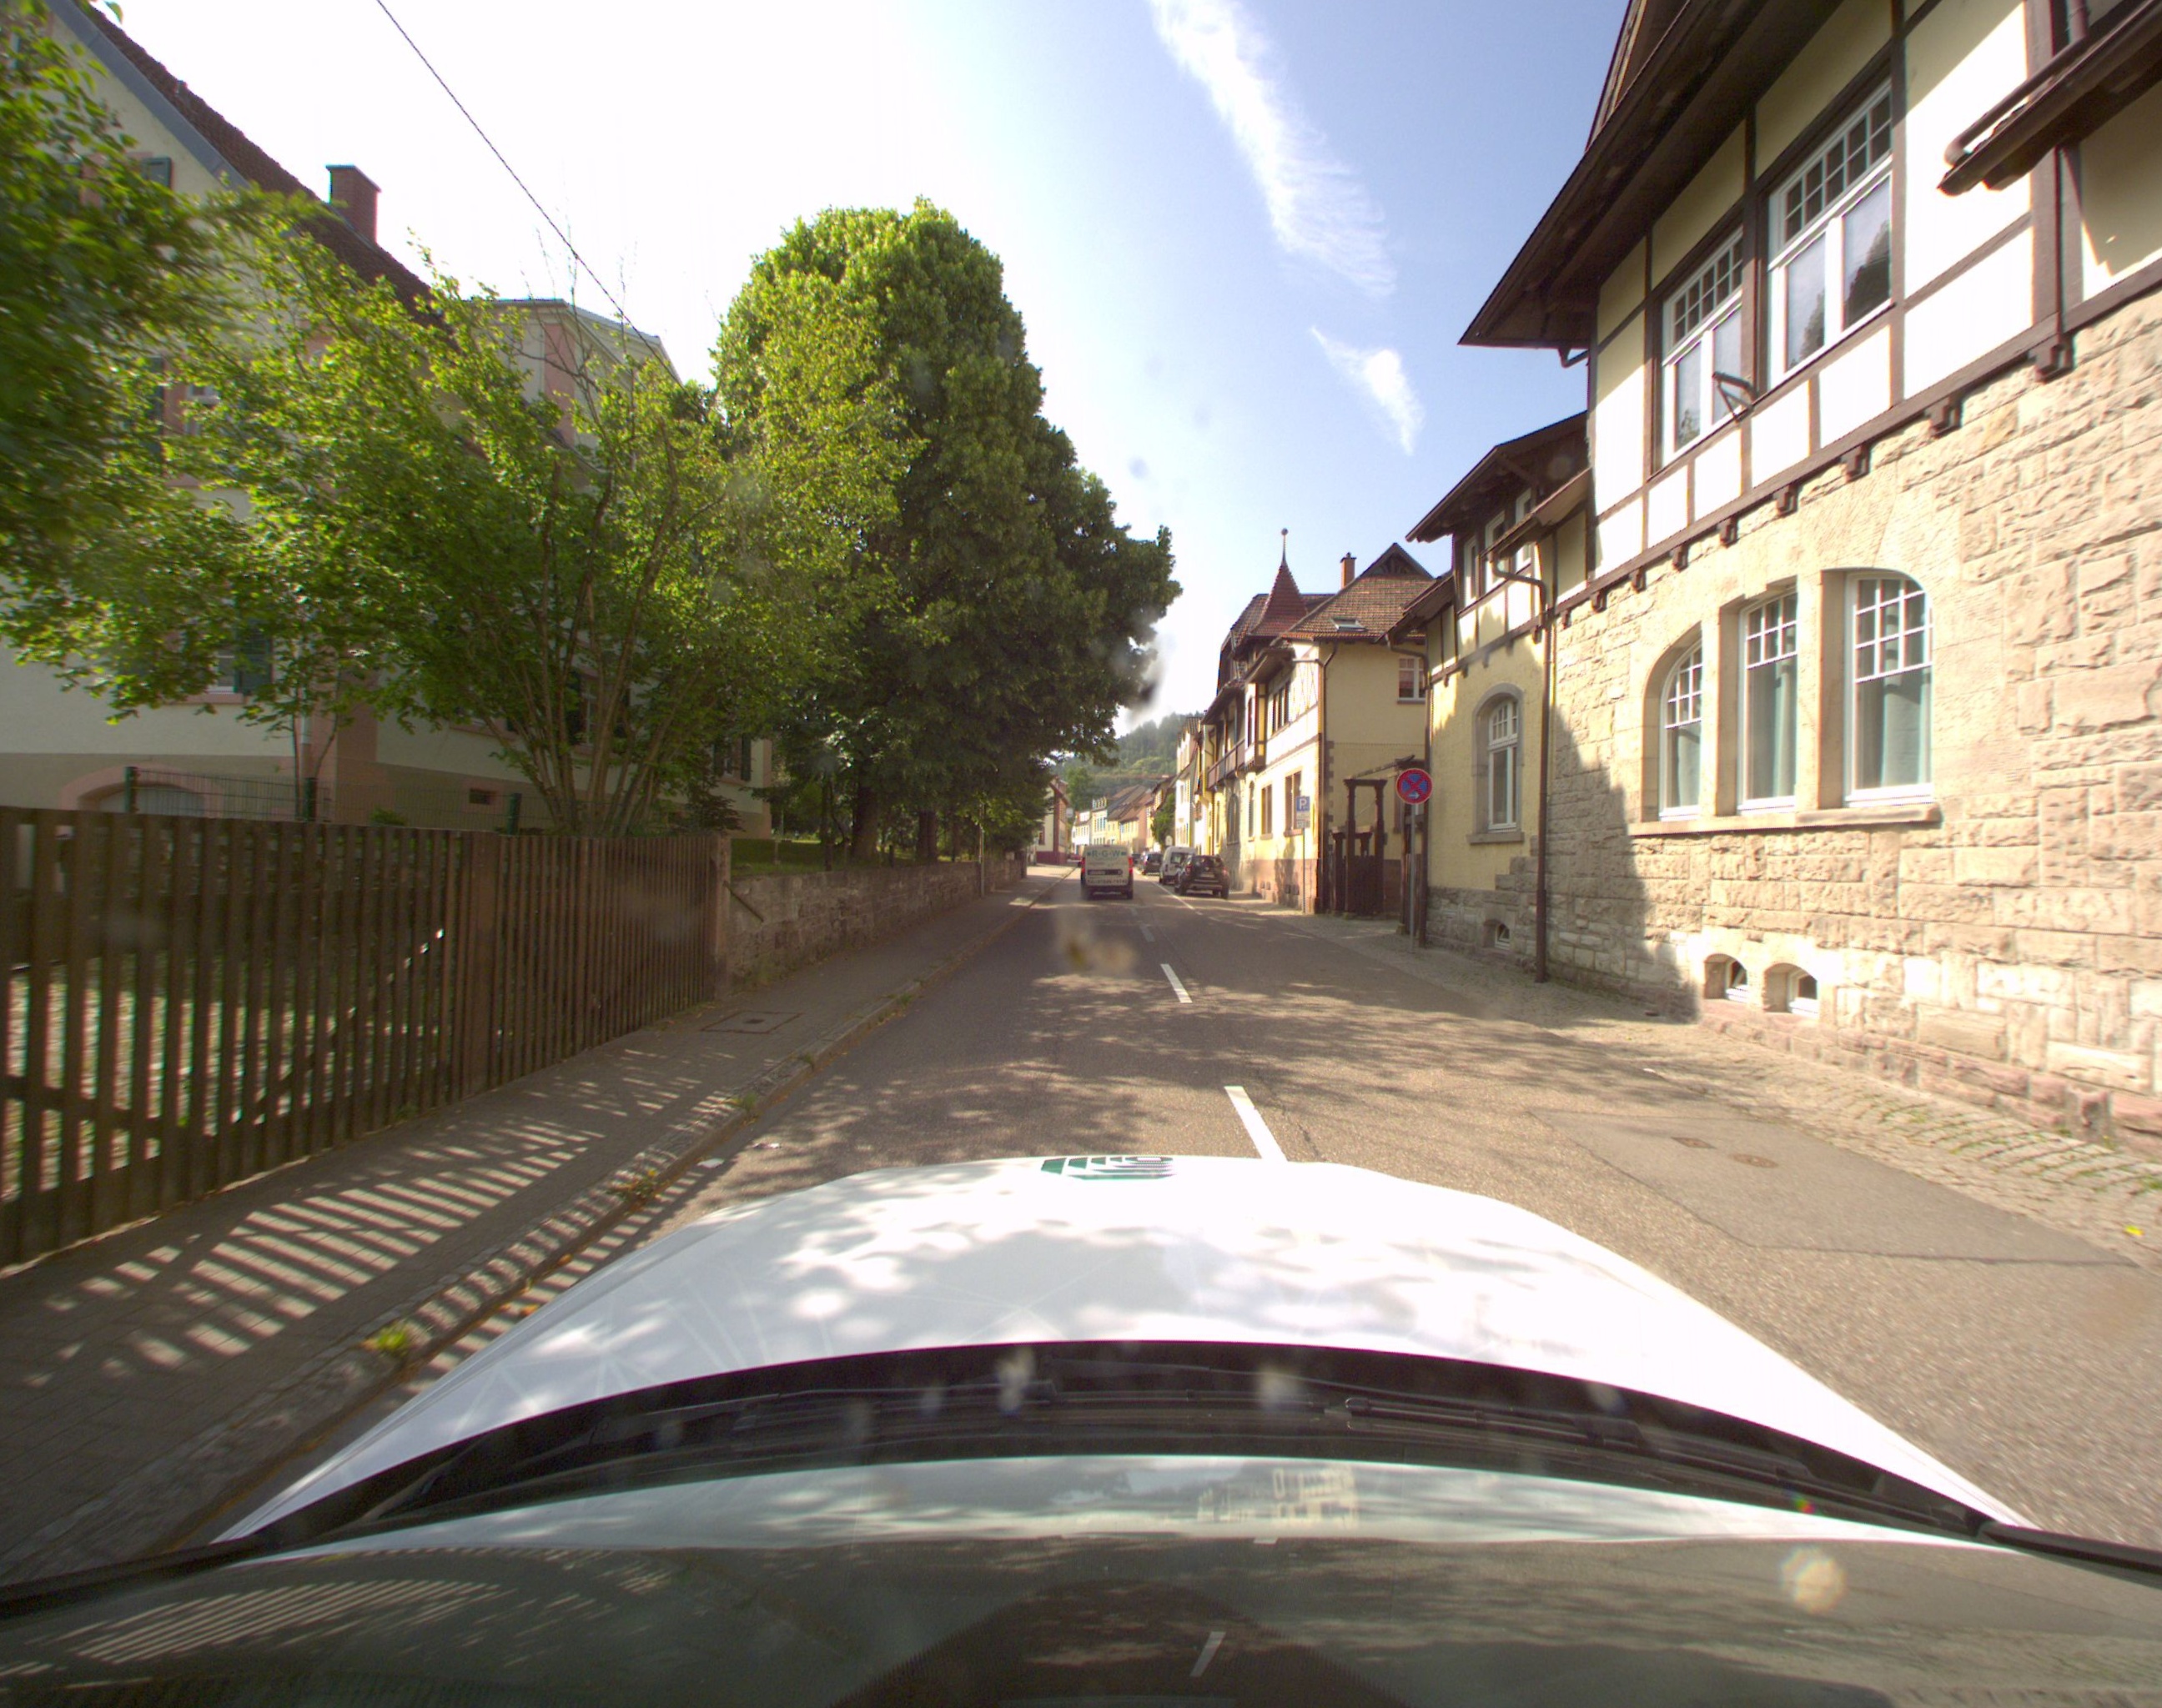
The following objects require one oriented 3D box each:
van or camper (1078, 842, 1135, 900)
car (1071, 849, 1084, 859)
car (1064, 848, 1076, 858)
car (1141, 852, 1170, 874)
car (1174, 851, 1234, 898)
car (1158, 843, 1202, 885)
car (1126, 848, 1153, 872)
[{"bbox_3d":[0.867,0.526,28.695,1.822,1.844,4.189,-2,1,1],"label":"van or camper"},{"bbox_3d":[-0.665,-0.073,151.493,1.771,1.799,3.987,1,0,-10],"label":"car"},{"bbox_3d":[-2.223,-0.220,157.970,1.771,1.799,3.987,1,0,-10],"label":"car"},{"bbox_3d":[5.288,0.612,58.179,1.664,1.508,3.999,0,0,0],"label":"car"},{"bbox_3d":[4.674,0.731,31.536,1.803,1.596,3.929,3,0,2],"label":"car"},{"bbox_3d":[5.022,0.485,41.780,1.864,2.013,4.001,1,0,1],"label":"car"},{"bbox_3d":[4.981,0.520,70.127,1.987,2.013,3.999,1,0,0],"label":"car"}]
